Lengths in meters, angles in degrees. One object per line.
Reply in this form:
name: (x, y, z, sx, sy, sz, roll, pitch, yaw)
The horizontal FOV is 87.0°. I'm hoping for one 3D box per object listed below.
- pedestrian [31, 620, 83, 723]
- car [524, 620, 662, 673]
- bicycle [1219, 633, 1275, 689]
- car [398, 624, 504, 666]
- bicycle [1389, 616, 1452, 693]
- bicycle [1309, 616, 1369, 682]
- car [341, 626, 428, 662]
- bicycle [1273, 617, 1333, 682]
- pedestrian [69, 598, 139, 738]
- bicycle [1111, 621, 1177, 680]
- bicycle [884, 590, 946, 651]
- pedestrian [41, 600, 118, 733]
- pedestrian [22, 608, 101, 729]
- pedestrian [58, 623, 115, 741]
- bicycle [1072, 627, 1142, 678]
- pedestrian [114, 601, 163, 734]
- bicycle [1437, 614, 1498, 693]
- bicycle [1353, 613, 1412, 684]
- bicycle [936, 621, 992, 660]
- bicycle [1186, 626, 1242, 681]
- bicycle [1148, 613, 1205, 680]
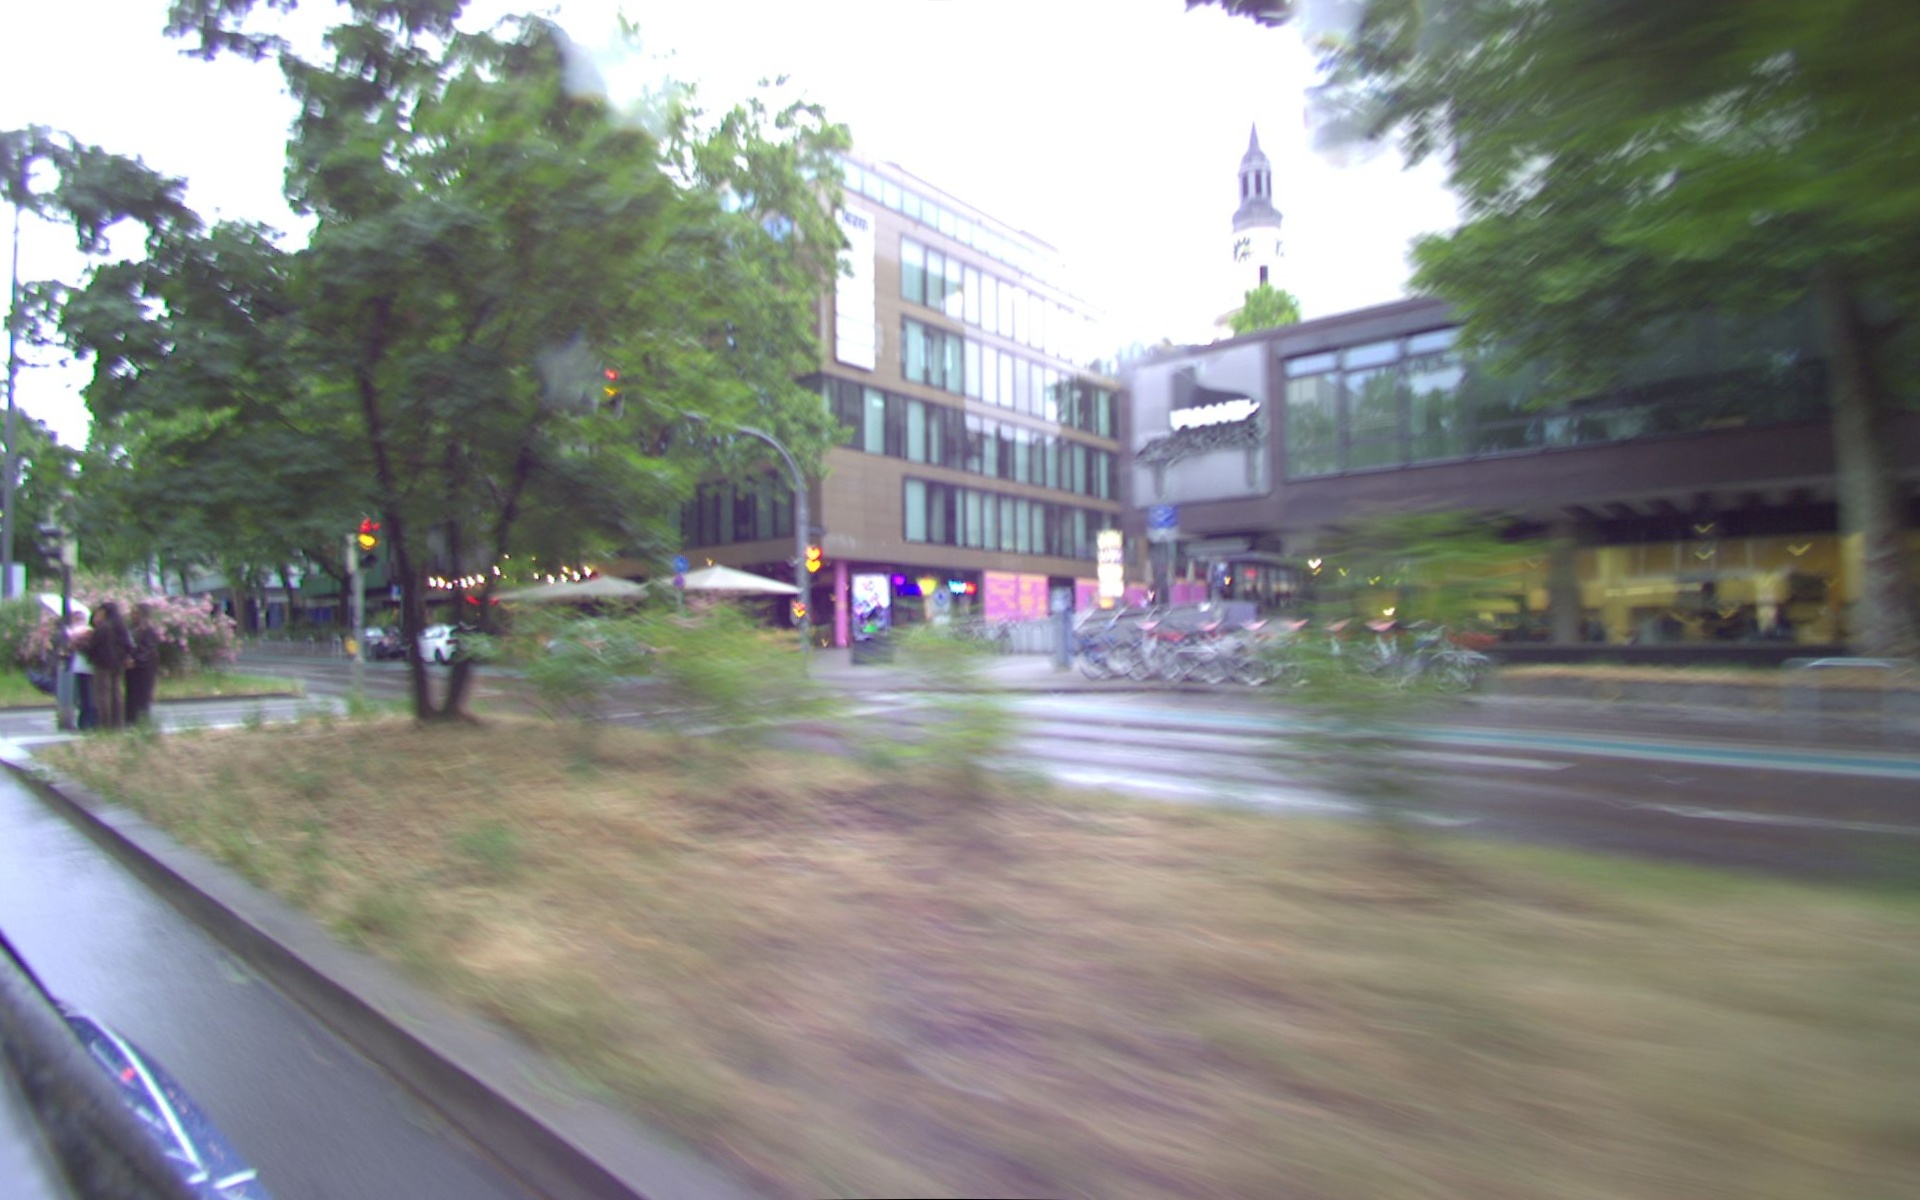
pedestrian: (-13.598, 1.058, 15.244, 0.475, 1.500, 0.546, 0, -2, -30)
car: (-11.256, 1.407, 30.887, 4.514, 1.521, 1.973, -2, -3, 40)
bicycle: (5.315, 1.109, 18.699, 0.508, 0.970, 1.604, -2, -2, 34)
car: (-18.888, 1.647, 37.473, 4.538, 1.380, 1.973, -3, 0, 42)
bicycle: (7.322, 0.845, 16.048, 0.564, 1.145, 1.828, -3, -3, 35)
bicycle: (6.631, 0.833, 17.661, 0.564, 1.106, 1.806, -2, -2, 34)
car: (-23.948, 1.821, 42.039, 4.482, 1.405, 1.806, -2, -2, 42)
bicycle: (6.114, 0.860, 17.997, 0.564, 1.099, 1.656, -2, -2, 34)
pedestrian: (-10.774, 0.836, 12.746, 0.402, 1.711, 0.569, -2, -2, 29)
bicycle: (3.685, 0.982, 20.148, 0.613, 1.106, 1.829, -2, -2, 33)
bicycle: (-1.540, 0.688, 34.969, 0.689, 2.029, 2.362, -2, -1, 39)
pedestrian: (-11.261, 0.833, 12.953, 0.443, 1.655, 0.624, -2, -2, 27)
pedestrian: (-12.592, 0.946, 14.189, 0.600, 1.654, 0.609, -1, -2, 19)
pedestrian: (-11.080, 1.026, 12.842, 0.383, 1.461, 0.421, -1, -2, 23)
bicycle: (3.022, 1.055, 20.727, 0.565, 0.986, 1.826, -2, -2, 38)
pedestrian: (-10.912, 0.885, 13.451, 0.324, 1.734, 0.396, -2, -2, 27)
bicycle: (7.952, 0.814, 15.816, 0.564, 1.158, 1.828, -3, -3, 35)
bicycle: (7.190, 0.801, 17.172, 0.564, 1.145, 1.829, -2, -2, 34)
bicycle: (0.151, 1.330, 33.939, 0.688, 1.256, 2.366, -2, -2, 33)
bicycle: (4.829, 0.994, 19.213, 0.564, 0.986, 1.451, -2, -2, 33)
bicycle: (4.210, 0.887, 19.616, 0.508, 1.251, 1.604, -2, -2, 34)
